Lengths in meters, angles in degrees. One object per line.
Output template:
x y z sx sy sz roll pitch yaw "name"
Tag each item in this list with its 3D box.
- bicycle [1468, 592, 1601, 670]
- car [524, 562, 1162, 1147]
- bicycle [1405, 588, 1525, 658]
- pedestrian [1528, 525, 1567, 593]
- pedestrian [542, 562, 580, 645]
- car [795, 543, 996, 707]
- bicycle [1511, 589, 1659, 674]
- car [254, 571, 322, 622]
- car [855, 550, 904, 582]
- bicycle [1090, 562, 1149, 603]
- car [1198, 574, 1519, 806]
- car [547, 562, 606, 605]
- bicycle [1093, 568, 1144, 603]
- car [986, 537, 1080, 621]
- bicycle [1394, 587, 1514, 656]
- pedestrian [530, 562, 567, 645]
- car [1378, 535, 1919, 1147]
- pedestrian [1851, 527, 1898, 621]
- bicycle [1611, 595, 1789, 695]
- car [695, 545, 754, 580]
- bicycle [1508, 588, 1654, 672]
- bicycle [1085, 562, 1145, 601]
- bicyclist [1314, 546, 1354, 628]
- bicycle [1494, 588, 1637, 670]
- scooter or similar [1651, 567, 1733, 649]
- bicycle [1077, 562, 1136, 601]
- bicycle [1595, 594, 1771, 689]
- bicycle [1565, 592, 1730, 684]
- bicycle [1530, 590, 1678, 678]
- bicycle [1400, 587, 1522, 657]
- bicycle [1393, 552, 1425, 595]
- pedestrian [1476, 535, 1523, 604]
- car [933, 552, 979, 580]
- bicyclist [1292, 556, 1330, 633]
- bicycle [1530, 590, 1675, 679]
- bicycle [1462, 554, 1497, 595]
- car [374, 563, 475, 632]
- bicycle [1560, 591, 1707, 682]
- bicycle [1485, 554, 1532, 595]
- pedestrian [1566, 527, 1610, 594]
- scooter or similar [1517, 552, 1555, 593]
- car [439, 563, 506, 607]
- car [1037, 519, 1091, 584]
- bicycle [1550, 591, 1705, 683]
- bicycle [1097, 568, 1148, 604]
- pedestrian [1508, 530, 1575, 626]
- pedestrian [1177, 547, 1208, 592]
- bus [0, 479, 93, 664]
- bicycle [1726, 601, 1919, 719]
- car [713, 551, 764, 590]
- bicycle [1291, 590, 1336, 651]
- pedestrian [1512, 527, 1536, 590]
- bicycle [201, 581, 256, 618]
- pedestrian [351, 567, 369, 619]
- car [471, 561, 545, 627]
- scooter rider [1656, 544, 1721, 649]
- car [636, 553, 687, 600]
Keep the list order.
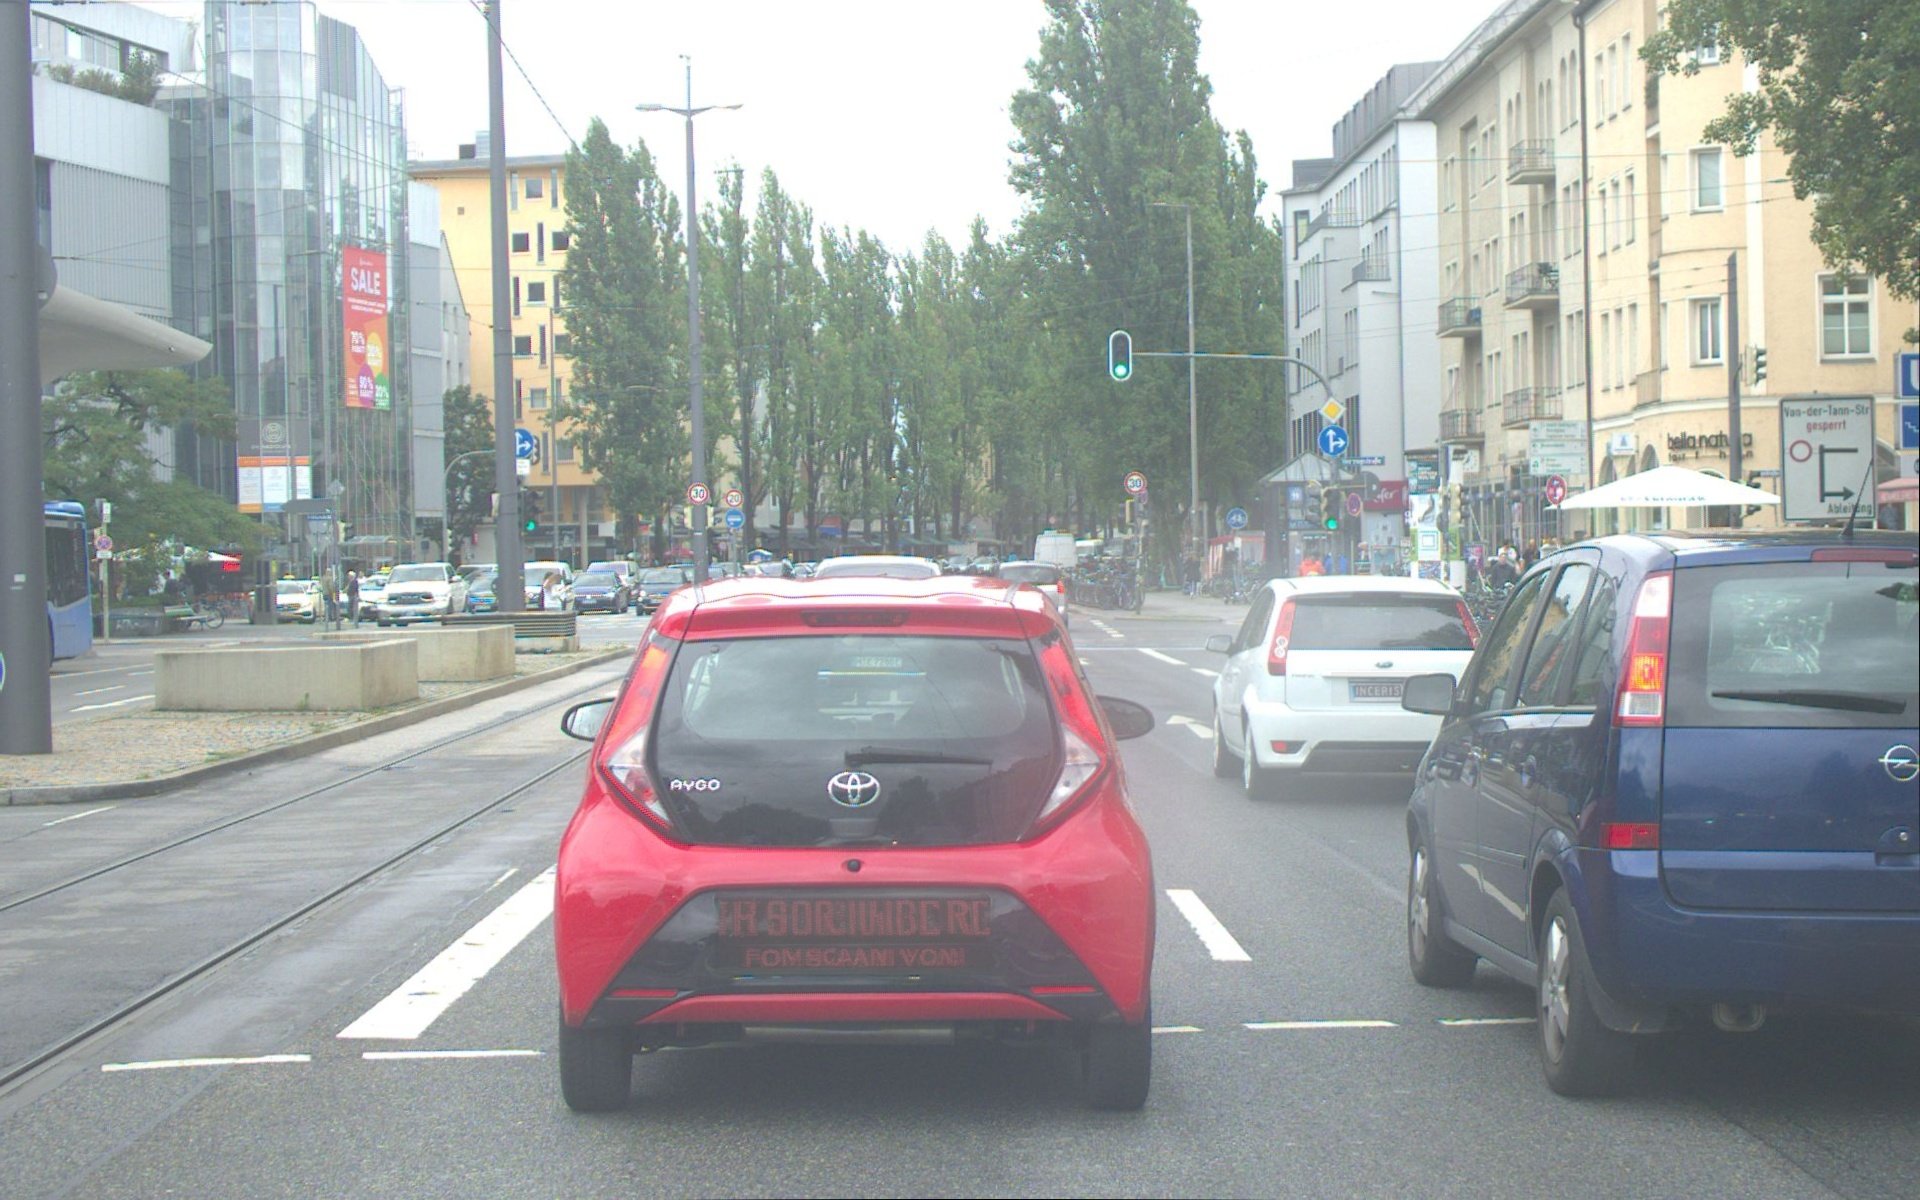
7.683 0.408 46.029 1.840 0.992 0.324 1 3 40 "bicycle"
-0.286 0.634 10.355 1.605 1.456 3.130 -1 1 1 "car"
7.383 0.342 50.329 1.840 0.992 0.347 -1 1 43 "bicycle"
15.332 -1.073 89.706 0.644 1.699 0.733 -4 4 -30 "pedestrian"
-7.803 0.066 67.222 0.521 1.613 0.463 -1 1 43 "pedestrian"
-0.681 0.228 36.635 1.993 1.612 4.000 -1 1 -1 "car"
7.703 0.376 42.419 1.840 0.992 0.324 1 2 36 "bicycle"
-22.115 -0.126 113.001 1.993 1.531 4.416 -2 2 -13 "car"
-4.488 -1.894 191.704 1.994 1.686 4.920 -1 1 7 "car"
4.722 -0.529 101.790 1.803 1.194 0.558 0 1 43 "bicycle"
2.617 0.551 23.293 1.699 1.421 3.497 0 1 -1 "car"
-12.967 -0.557 116.482 1.677 1.391 4.233 -1 1 -3 "car"
4.649 -0.430 101.131 0.498 1.025 1.601 -2 1 -43 "bicycle"
1.632 -0.496 78.108 1.993 1.831 4.000 -1 1 -1 "car"
7.415 0.324 51.648 1.840 0.992 0.347 -1 1 39 "bicycle"
-8.088 0.058 67.508 0.486 1.613 0.558 -2 1 -35 "pedestrian"
2.383 0.605 10.711 1.703 1.584 3.556 0 1 0 "car"
16.004 -0.452 60.202 0.614 1.627 0.678 -1 1 0 "pedestrian"
7.771 0.465 36.156 1.840 0.992 0.374 1 2 37 "bicycle"
-10.091 -1.619 147.821 1.994 1.407 4.167 2 1 3 "car"
7.759 0.368 43.023 1.840 0.992 0.324 1 2 36 "bicycle"
4.651 -0.553 103.183 1.803 1.154 0.547 0 1 38 "bicycle"
8.683 -0.307 79.875 0.762 1.863 1.133 -1 1 0 "bicyclist"
7.705 0.356 43.791 1.840 0.992 0.324 1 2 36 "bicycle"
9.814 0.098 46.112 0.775 1.071 1.256 -1 1 -2 "scooter or similar"
4.514 -0.574 105.991 1.802 1.154 0.486 -1 1 30 "bicycle"
7.904 0.444 37.608 1.838 0.992 0.375 1 2 24 "bicycle"
7.779 0.426 38.936 1.839 0.992 0.324 1 2 32 "bicycle"
7.682 0.394 41.056 1.841 0.992 0.324 2 3 42 "bicycle"
7.425 0.333 50.993 1.840 0.992 0.347 -1 1 39 "bicycle"
11.936 -0.708 91.357 0.566 1.104 1.866 -1 1 0 "bicycle"
12.193 -0.684 77.768 0.729 1.535 0.891 -1 1 -15 "pedestrian"
-0.241 -2.137 216.742 1.995 1.722 3.915 -1 1 13 "car"
7.695 -0.121 75.363 0.614 1.652 1.251 -1 1 -2 "bicyclist"
7.578 0.399 40.613 0.324 0.992 1.841 -2 3 -44 "bicycle"
13.832 -0.685 91.594 0.494 1.055 1.867 -1 1 -5 "bicycle"
-15.393 -0.097 99.156 2.175 1.881 6.157 -1 1 -2 "car"
7.822 0.411 39.996 0.324 0.992 1.841 -2 3 -43 "bicycle"
14.659 -0.683 91.879 0.494 1.055 1.867 -1 1 -15 "bicycle"
16.717 -1.051 91.529 0.933 1.749 1.065 -1 1 0 "pedestrian"
14.846 -0.720 88.614 0.819 0.991 0.593 -2 4 -9 "scooter or similar"
-15.902 -0.510 112.391 1.672 1.374 4.614 -1 1 -2 "car"
4.432 -2.085 147.523 2.107 2.709 4.804 -1 1 0 "car"
7.673 0.415 39.587 1.841 0.992 0.324 2 3 42 "bicycle"
4.733 -0.414 100.275 0.498 1.025 1.601 -2 1 -43 "bicycle"
10.700 -0.407 63.275 0.881 1.737 0.858 -1 1 -17 "pedestrian"
7.928 -1.030 117.152 0.809 1.517 0.799 -1 1 23 "pedestrian"
-16.947 -0.441 58.155 2.660 2.997 7.514 -3 1 -1 "bus"
7.826 0.534 31.270 0.374 0.992 1.841 -2 3 -40 "bicycle"
-10.071 -1.352 156.669 1.743 1.664 4.732 -2 1 3 "car"
7.725 0.435 75.235 0.614 1.260 2.520 -1 1 -2 "bicycle"
14.721 -1.085 89.780 0.561 1.604 0.567 -1 4 13 "pedestrian"
-22.130 -0.008 104.063 1.574 1.108 0.373 -1 1 4 "bicycle"
-20.086 -0.238 115.155 0.446 1.753 0.355 -1 1 18 "pedestrian"
-13.439 -0.203 102.392 1.786 1.849 4.219 -2 1 -3 "car"
9.769 -0.049 46.113 0.700 1.384 0.643 -1 1 -2 "scooter rider"
-9.548 -0.776 110.011 1.545 1.440 3.540 -1 1 -4 "car"
